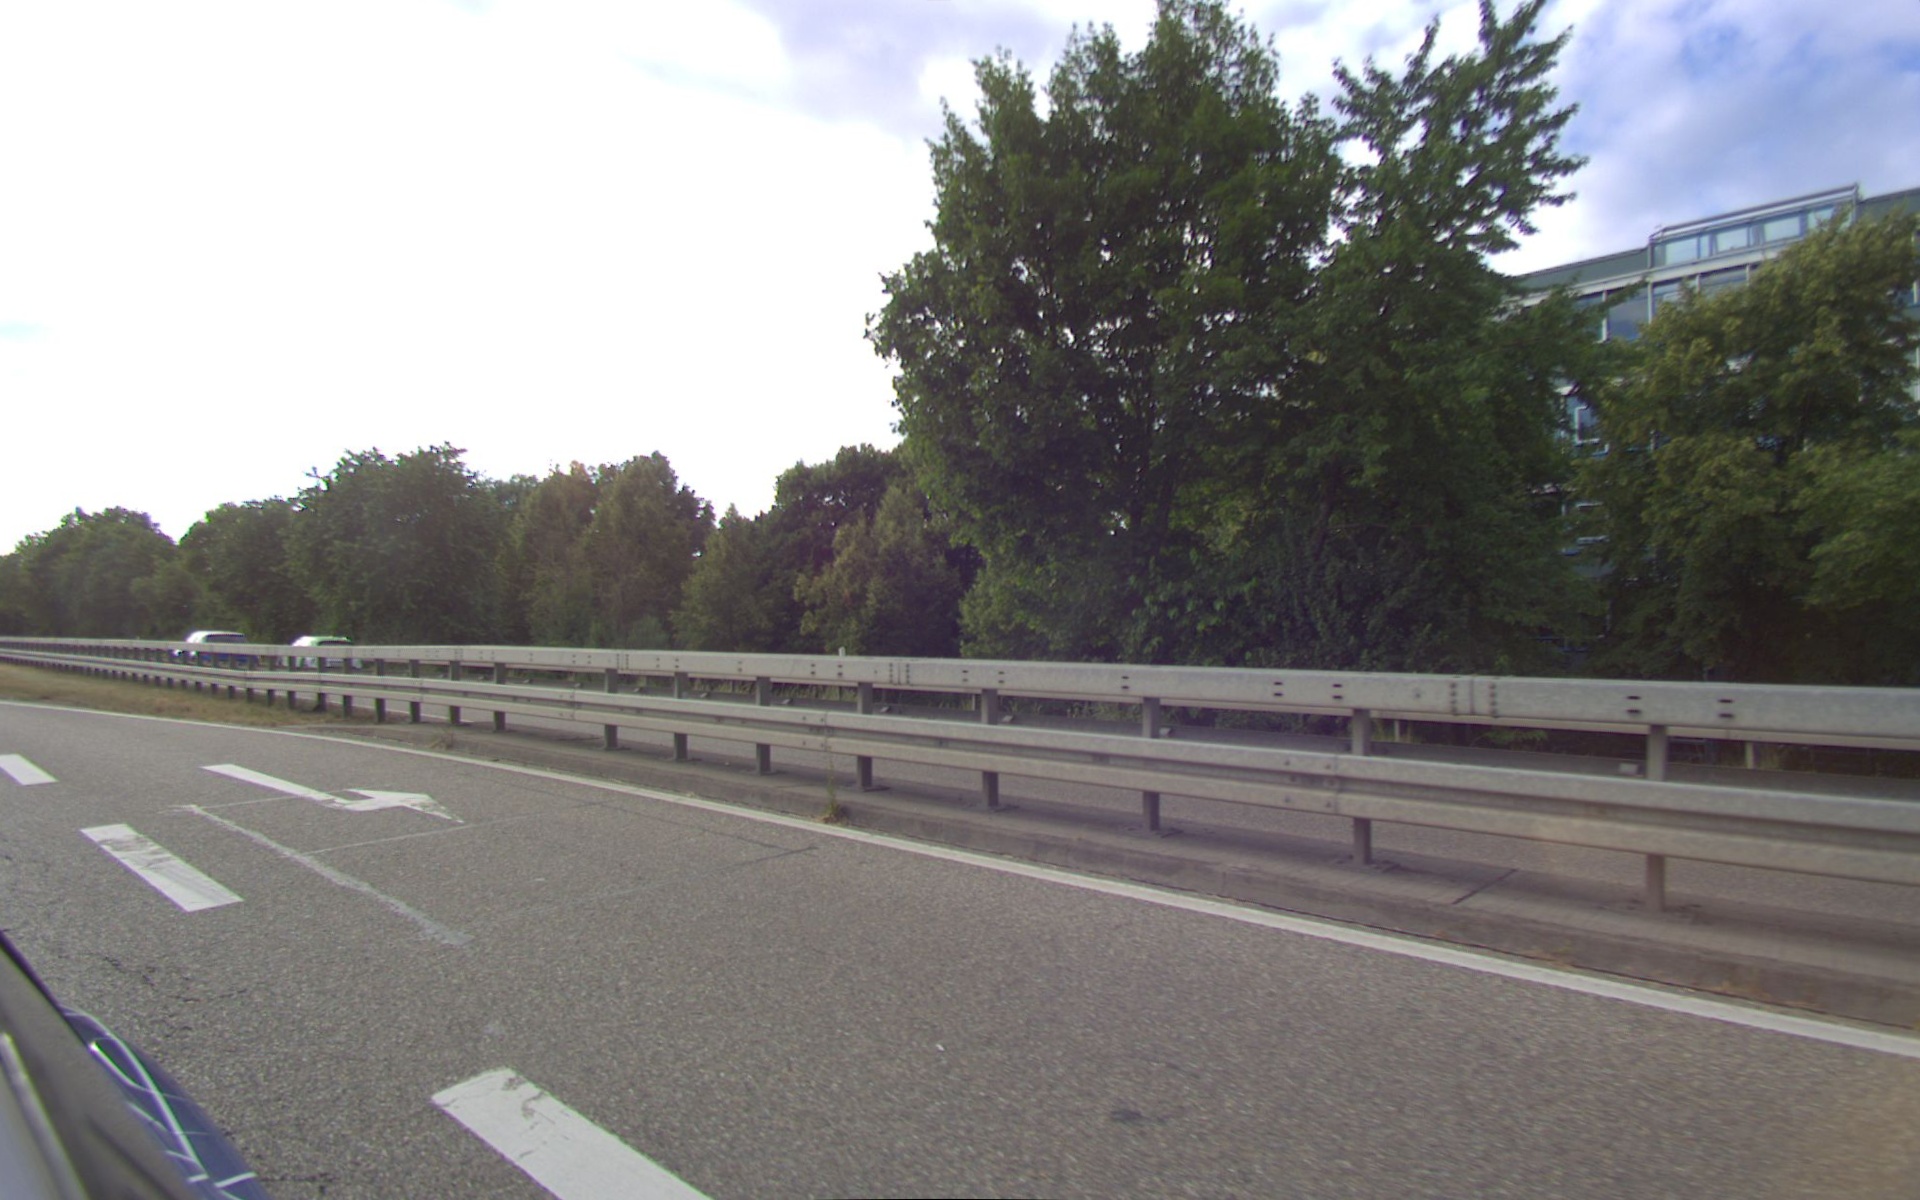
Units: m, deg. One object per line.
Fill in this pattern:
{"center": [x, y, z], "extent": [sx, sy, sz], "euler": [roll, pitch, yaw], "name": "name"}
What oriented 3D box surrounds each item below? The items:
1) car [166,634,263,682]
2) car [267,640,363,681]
{"center": [-24.469, 1.868, 33.185], "extent": [3.710, 1.479, 1.750], "euler": [-2, -3, 41], "name": "car"}
{"center": [-23.757, 2.202, 37.227], "extent": [4.456, 1.424, 1.741], "euler": [-2, -3, 41], "name": "car"}
